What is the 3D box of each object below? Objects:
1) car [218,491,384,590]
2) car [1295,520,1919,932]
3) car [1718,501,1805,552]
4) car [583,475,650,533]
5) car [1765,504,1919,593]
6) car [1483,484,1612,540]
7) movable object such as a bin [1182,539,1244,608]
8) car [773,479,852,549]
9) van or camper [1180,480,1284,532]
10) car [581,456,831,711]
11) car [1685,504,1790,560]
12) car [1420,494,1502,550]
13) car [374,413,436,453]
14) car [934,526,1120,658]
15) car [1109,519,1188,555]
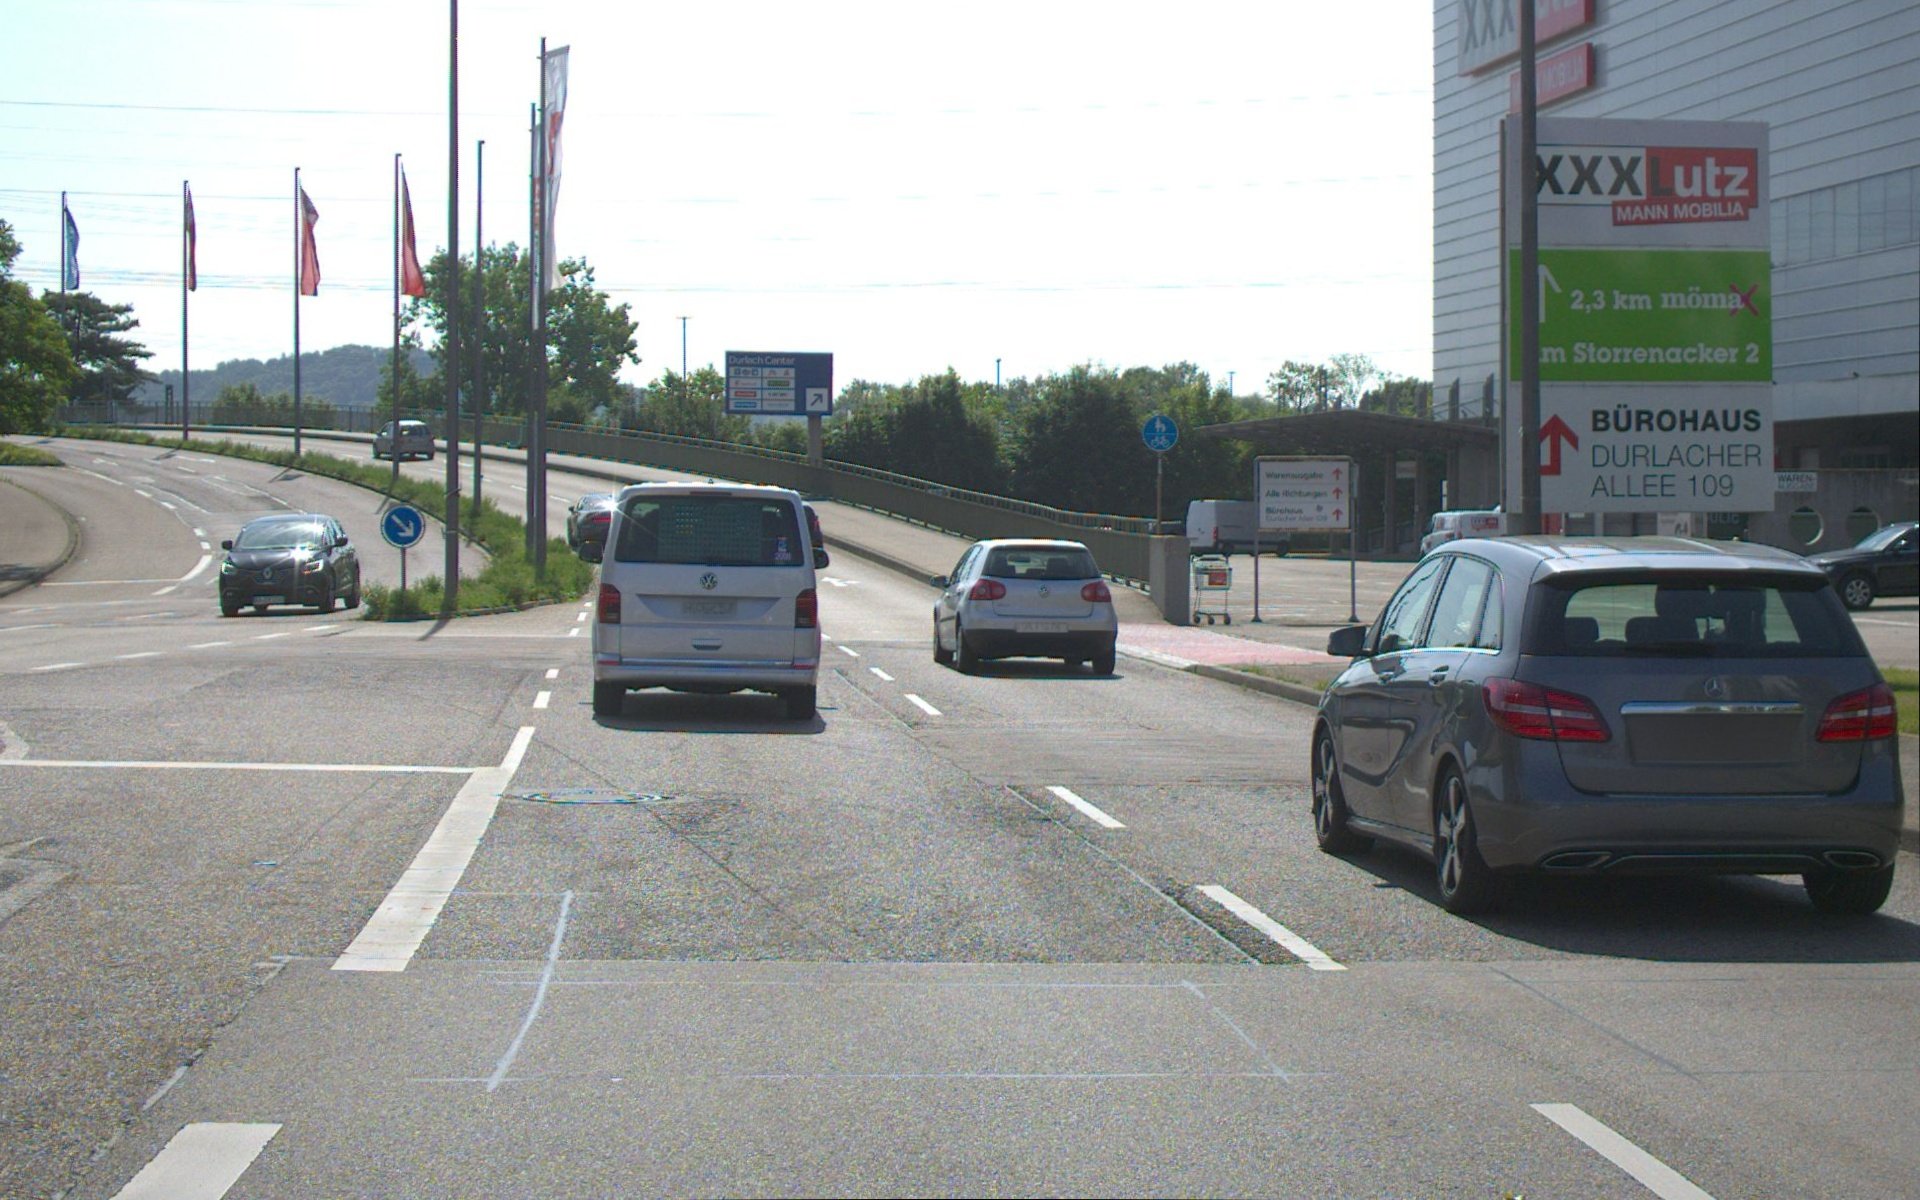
[{"bbox_3d":[-11.194,-1.036,58.668,1.915,1.601,4.272,0,2,2],"label":"car"},{"bbox_3d":[2.714,0.437,15.074,1.773,1.533,4.138,1,1,-4],"label":"car"},{"bbox_3d":[23.923,-2.206,102.734,1.510,1.463,3.255,1,2,-6],"label":"car"},{"bbox_3d":[-9.147,-2.543,91.418,1.530,1.474,3.248,1,1,-9],"label":"car"},{"bbox_3d":[18.304,-1.047,67.639,4.421,1.608,1.838,-2,2,-10],"label":"car"},{"bbox_3d":[21.131,-3.173,123.697,4.187,1.922,1.777,1,2,-7],"label":"car"},{"bbox_3d":[4.126,-0.439,56.059,0.809,1.109,1.182,0,1,-5],"label":"movable object such as a bin"},{"bbox_3d":[-3.609,-2.098,83.504,1.530,1.474,3.597,1,4,-8],"label":"car"},{"bbox_3d":[12.904,-4.450,162.922,2.103,2.171,5.425,3,0,40],"label":"van or camper"},{"bbox_3d":[-2.172,-0.186,29.530,1.916,1.968,4.298,2,1,-4],"label":"car"},{"bbox_3d":[22.235,-1.968,98.491,1.672,1.504,4.095,1,2,-6],"label":"car"},{"bbox_3d":[16.434,-2.580,112.832,1.672,1.745,4.095,1,2,-6],"label":"car"},{"bbox_3d":[-22.452,-6.742,138.994,1.530,1.475,3.426,1,1,-26],"label":"car"},{"bbox_3d":[0.710,-0.116,38.874,1.666,1.409,3.683,1,1,-5],"label":"car"},{"bbox_3d":[8.121,-2.720,148.447,1.993,1.415,4.001,2,0,-19],"label":"car"}]
